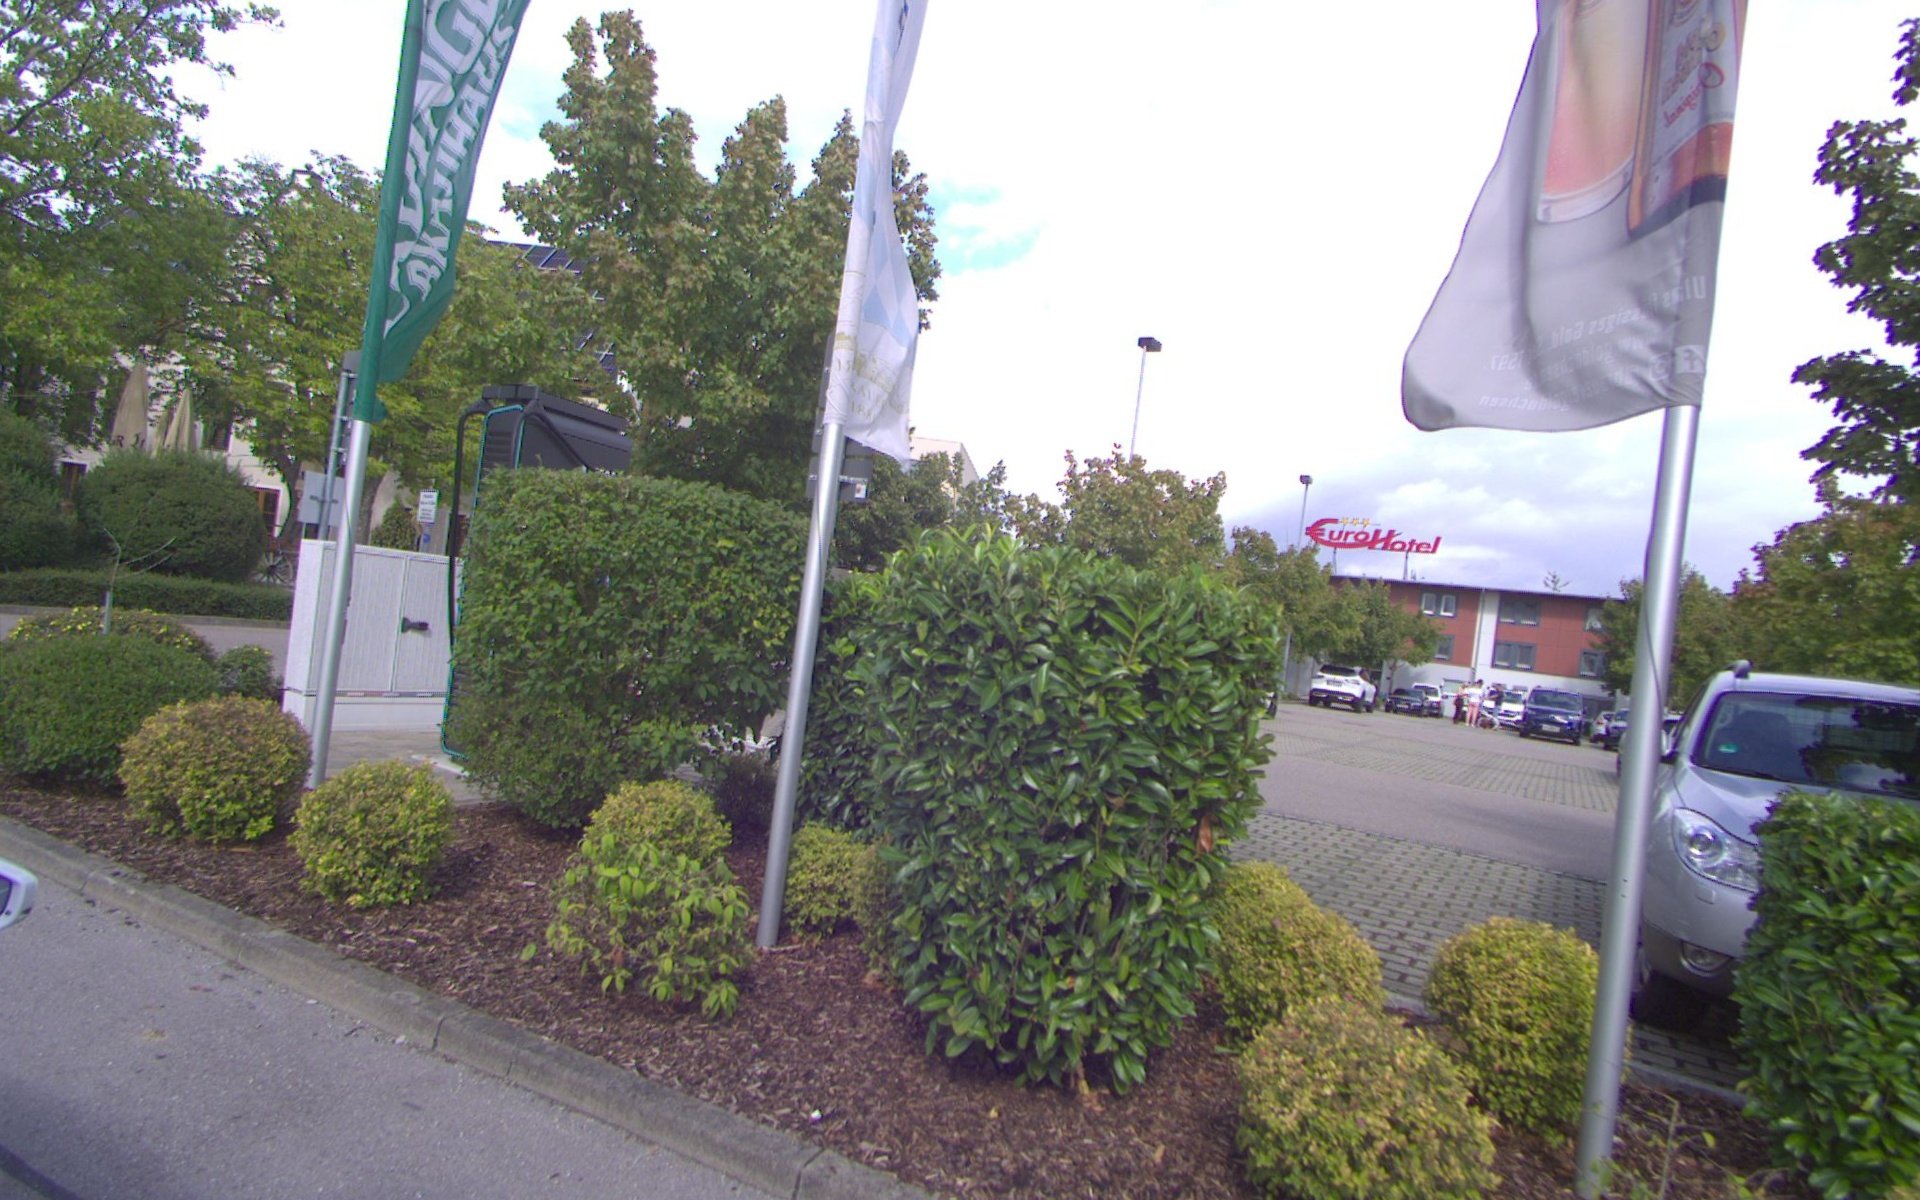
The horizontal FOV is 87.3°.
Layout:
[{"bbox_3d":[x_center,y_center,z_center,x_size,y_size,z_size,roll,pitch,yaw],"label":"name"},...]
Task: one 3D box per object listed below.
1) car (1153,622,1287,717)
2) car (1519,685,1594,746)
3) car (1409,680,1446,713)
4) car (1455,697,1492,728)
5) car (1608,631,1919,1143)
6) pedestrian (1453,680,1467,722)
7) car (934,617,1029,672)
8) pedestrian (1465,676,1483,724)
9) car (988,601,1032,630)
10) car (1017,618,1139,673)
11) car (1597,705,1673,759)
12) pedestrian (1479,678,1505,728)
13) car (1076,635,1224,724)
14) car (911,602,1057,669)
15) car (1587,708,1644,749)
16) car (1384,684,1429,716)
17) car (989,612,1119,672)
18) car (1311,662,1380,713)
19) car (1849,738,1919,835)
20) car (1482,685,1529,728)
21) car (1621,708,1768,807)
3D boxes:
[{"bbox_3d":[6.275,1.716,23.907,1.738,1.843,4.361,7,-2,31],"label":"car"},{"bbox_3d":[20.133,3.878,34.088,1.736,1.675,3.998,7,-2,28],"label":"car"},{"bbox_3d":[28.829,5.965,61.975,1.736,1.740,3.998,7,-2,28],"label":"car"},{"bbox_3d":[31.077,6.779,60.888,1.755,1.562,3.998,7,-2,28],"label":"car"},{"bbox_3d":[4.758,1.241,5.462,1.888,1.717,4.669,6,-1,33],"label":"car"},{"bbox_3d":[19.104,3.852,38.427,0.283,1.569,0.196,8,0,27],"label":"pedestrian"},{"bbox_3d":[1.058,2.186,49.122,3.928,2.037,2.000,8,-1,25],"label":"car"},{"bbox_3d":[19.326,3.778,37.833,0.409,1.745,0.477,8,0,28],"label":"pedestrian"},{"bbox_3d":[3.950,1.239,79.168,1.686,1.850,3.607,8,-2,32],"label":"car"},{"bbox_3d":[5.279,2.028,45.198,4.993,1.731,1.748,7,-1,31],"label":"car"},{"bbox_3d":[21.763,4.214,32.546,1.502,1.390,3.476,7,-2,28],"label":"car"},{"bbox_3d":[19.589,3.793,37.032,0.411,1.745,0.496,8,0,-27],"label":"pedestrian"},{"bbox_3d":[3.755,1.573,19.501,1.602,1.367,3.368,7,-2,31],"label":"car"},{"bbox_3d":[0.842,1.297,36.895,4.993,1.731,1.748,7,-1,31],"label":"car"},{"bbox_3d":[27.784,5.414,42.728,1.502,1.390,3.476,7,-2,28],"label":"car"},{"bbox_3d":[22.644,5.057,50.918,1.736,1.293,3.998,7,-2,28],"label":"car"},{"bbox_3d":[3.830,1.721,41.534,4.993,1.731,1.596,7,-1,31],"label":"car"},{"bbox_3d":[14.138,3.217,36.808,1.792,1.517,3.844,7,-2,28],"label":"car"},{"bbox_3d":[16.827,3.249,17.082,1.692,1.444,4.271,7,-2,31],"label":"car"},{"bbox_3d":[26.684,5.196,49.295,1.736,1.740,3.998,7,-2,28],"label":"car"},{"bbox_3d":[13.557,2.843,18.794,1.692,1.361,4.271,7,-2,31],"label":"car"}]
